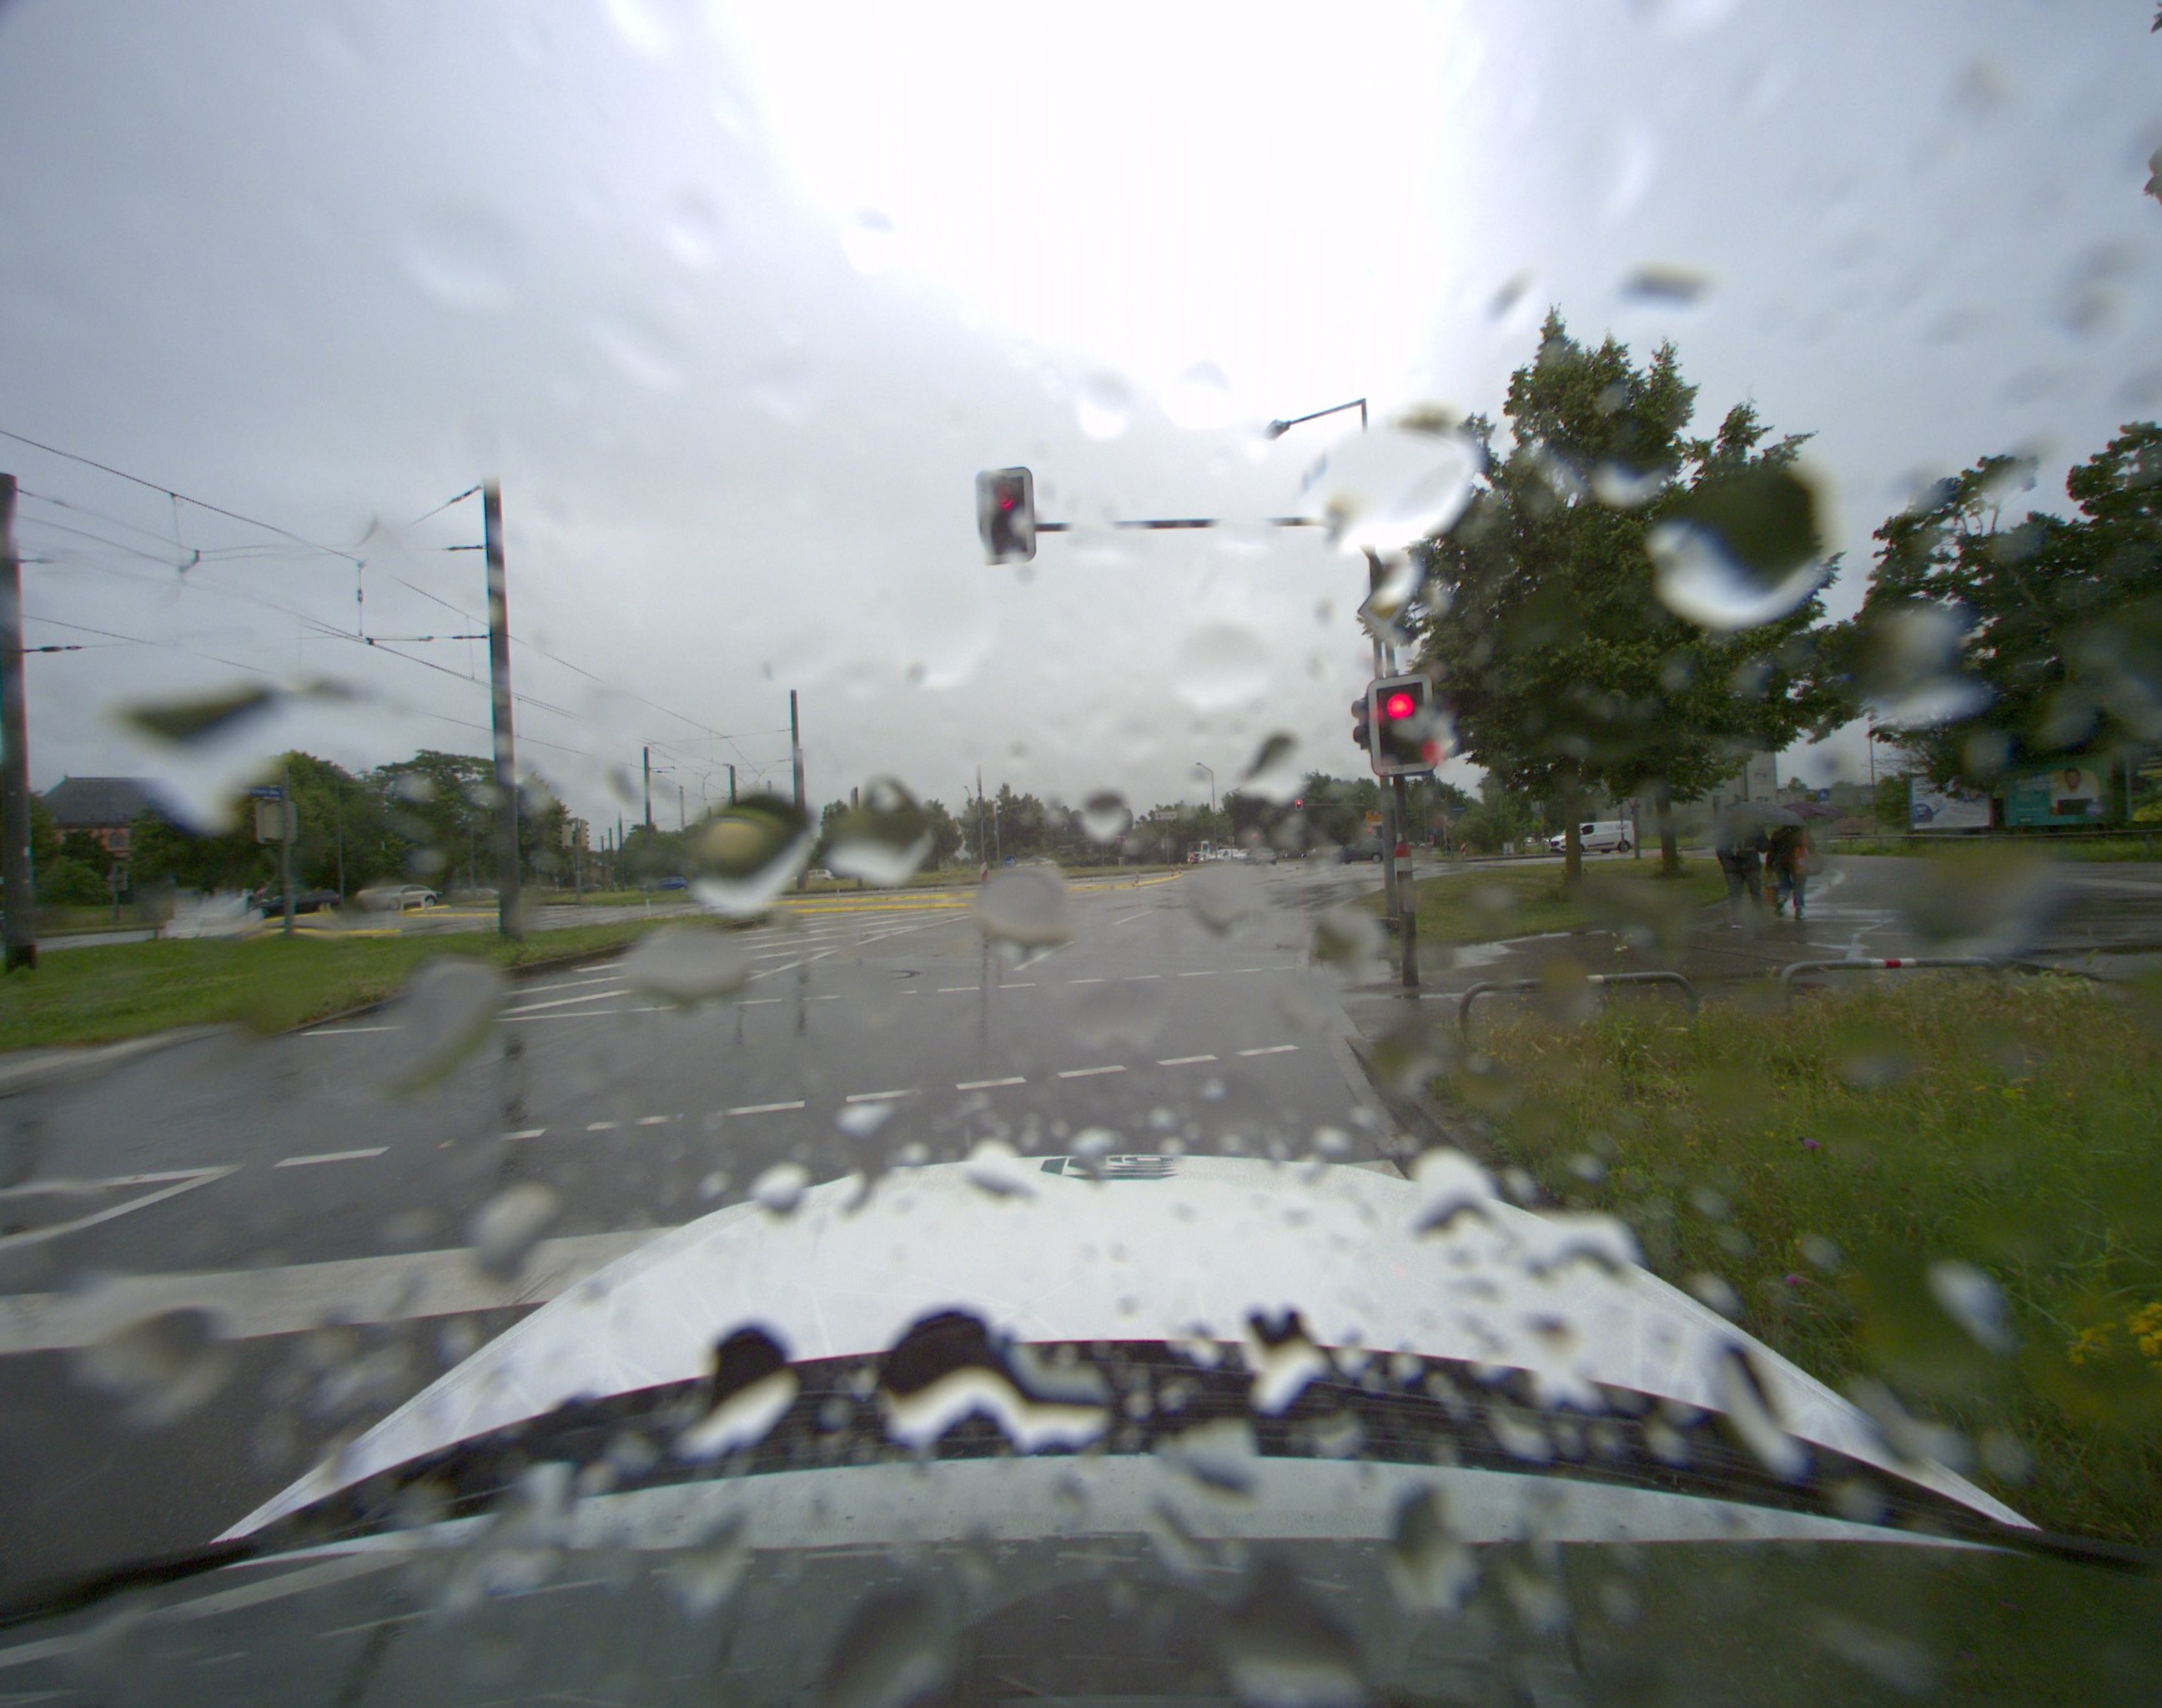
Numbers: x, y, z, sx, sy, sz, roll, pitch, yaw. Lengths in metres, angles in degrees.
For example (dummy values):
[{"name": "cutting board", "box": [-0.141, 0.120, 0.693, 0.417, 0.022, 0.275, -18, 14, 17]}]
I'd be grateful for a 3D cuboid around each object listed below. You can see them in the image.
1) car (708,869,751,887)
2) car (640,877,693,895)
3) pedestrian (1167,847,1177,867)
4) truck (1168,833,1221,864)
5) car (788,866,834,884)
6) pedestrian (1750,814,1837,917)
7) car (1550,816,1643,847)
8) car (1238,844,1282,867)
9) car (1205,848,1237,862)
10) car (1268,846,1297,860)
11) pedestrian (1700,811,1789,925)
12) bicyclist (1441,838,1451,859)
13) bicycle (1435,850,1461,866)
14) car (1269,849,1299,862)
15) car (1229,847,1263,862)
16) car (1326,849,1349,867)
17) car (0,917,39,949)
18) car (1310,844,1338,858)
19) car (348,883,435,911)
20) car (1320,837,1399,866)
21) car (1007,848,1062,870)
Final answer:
[{"name": "car", "box": [-37.164, 2.506, 86.186, 1.660, 1.816, 4.025, -1, -1, 31]}, {"name": "car", "box": [-37.637, 2.884, 74.040, 4.010, 1.454, 1.604, -2, 0, -42]}, {"name": "pedestrian", "box": [6.076, 0.224, 54.325, 0.448, 1.304, 0.489, -3, -1, 40]}, {"name": "truck", "box": [10.423, -0.412, 74.021, 2.439, 2.686, 8.105, -1, -1, 25]}, {"name": "car", "box": [-25.896, 2.002, 78.156, 3.978, 1.454, 1.616, -2, 0, -13]}, {"name": "pedestrian", "box": [10.561, 0.167, 12.086, 0.678, 1.461, 0.573, -3, -1, -3]}, {"name": "car", "box": [32.545, -1.391, 51.461, 4.752, 1.851, 1.997, 0, -1, -5]}, {"name": "car", "box": [14.995, 0.174, 68.324, 1.993, 1.851, 4.760, 0, -1, -9]}, {"name": "car", "box": [16.529, 0.161, 96.056, 1.779, 1.662, 4.159, -1, -1, 43]}, {"name": "car", "box": [26.752, -0.152, 108.026, 1.779, 1.662, 4.437, -3, 0, 43]}, {"name": "pedestrian", "box": [9.156, 0.185, 11.264, 0.619, 1.522, 0.741, -1, 0, 0]}, {"name": "bicyclist", "box": [30.009, -0.426, 66.940, 0.495, 1.742, 0.588, 0, -1, -13]}, {"name": "bicycle", "box": [30.076, 0.318, 66.795, 0.570, 1.314, 2.500, 0, -1, -11]}, {"name": "car", "box": [25.503, 0.220, 102.232, 1.779, 1.662, 4.436, -1, -1, 43]}, {"name": "car", "box": [19.110, 0.118, 94.331, 1.779, 1.662, 4.436, -1, -1, 43]}, {"name": "car", "box": [22.236, 0.333, 70.734, 1.606, 1.454, 4.003, -2, 0, 14]}, {"name": "car", "box": [-57.065, 4.165, 42.314, 1.601, 1.543, 3.504, -1, -1, 41]}, {"name": "car", "box": [32.455, -0.438, 108.560, 1.779, 1.662, 4.437, -3, 0, 43]}, {"name": "car", "box": [-41.737, 2.571, 49.429, 1.612, 1.454, 4.114, -2, 0, 1]}, {"name": "car", "box": [19.196, -0.130, 56.236, 4.714, 1.851, 2.013, -1, -1, 37]}, {"name": "car", "box": [-4.362, 0.517, 76.418, 4.714, 1.851, 2.013, -3, 0, 31]}]
